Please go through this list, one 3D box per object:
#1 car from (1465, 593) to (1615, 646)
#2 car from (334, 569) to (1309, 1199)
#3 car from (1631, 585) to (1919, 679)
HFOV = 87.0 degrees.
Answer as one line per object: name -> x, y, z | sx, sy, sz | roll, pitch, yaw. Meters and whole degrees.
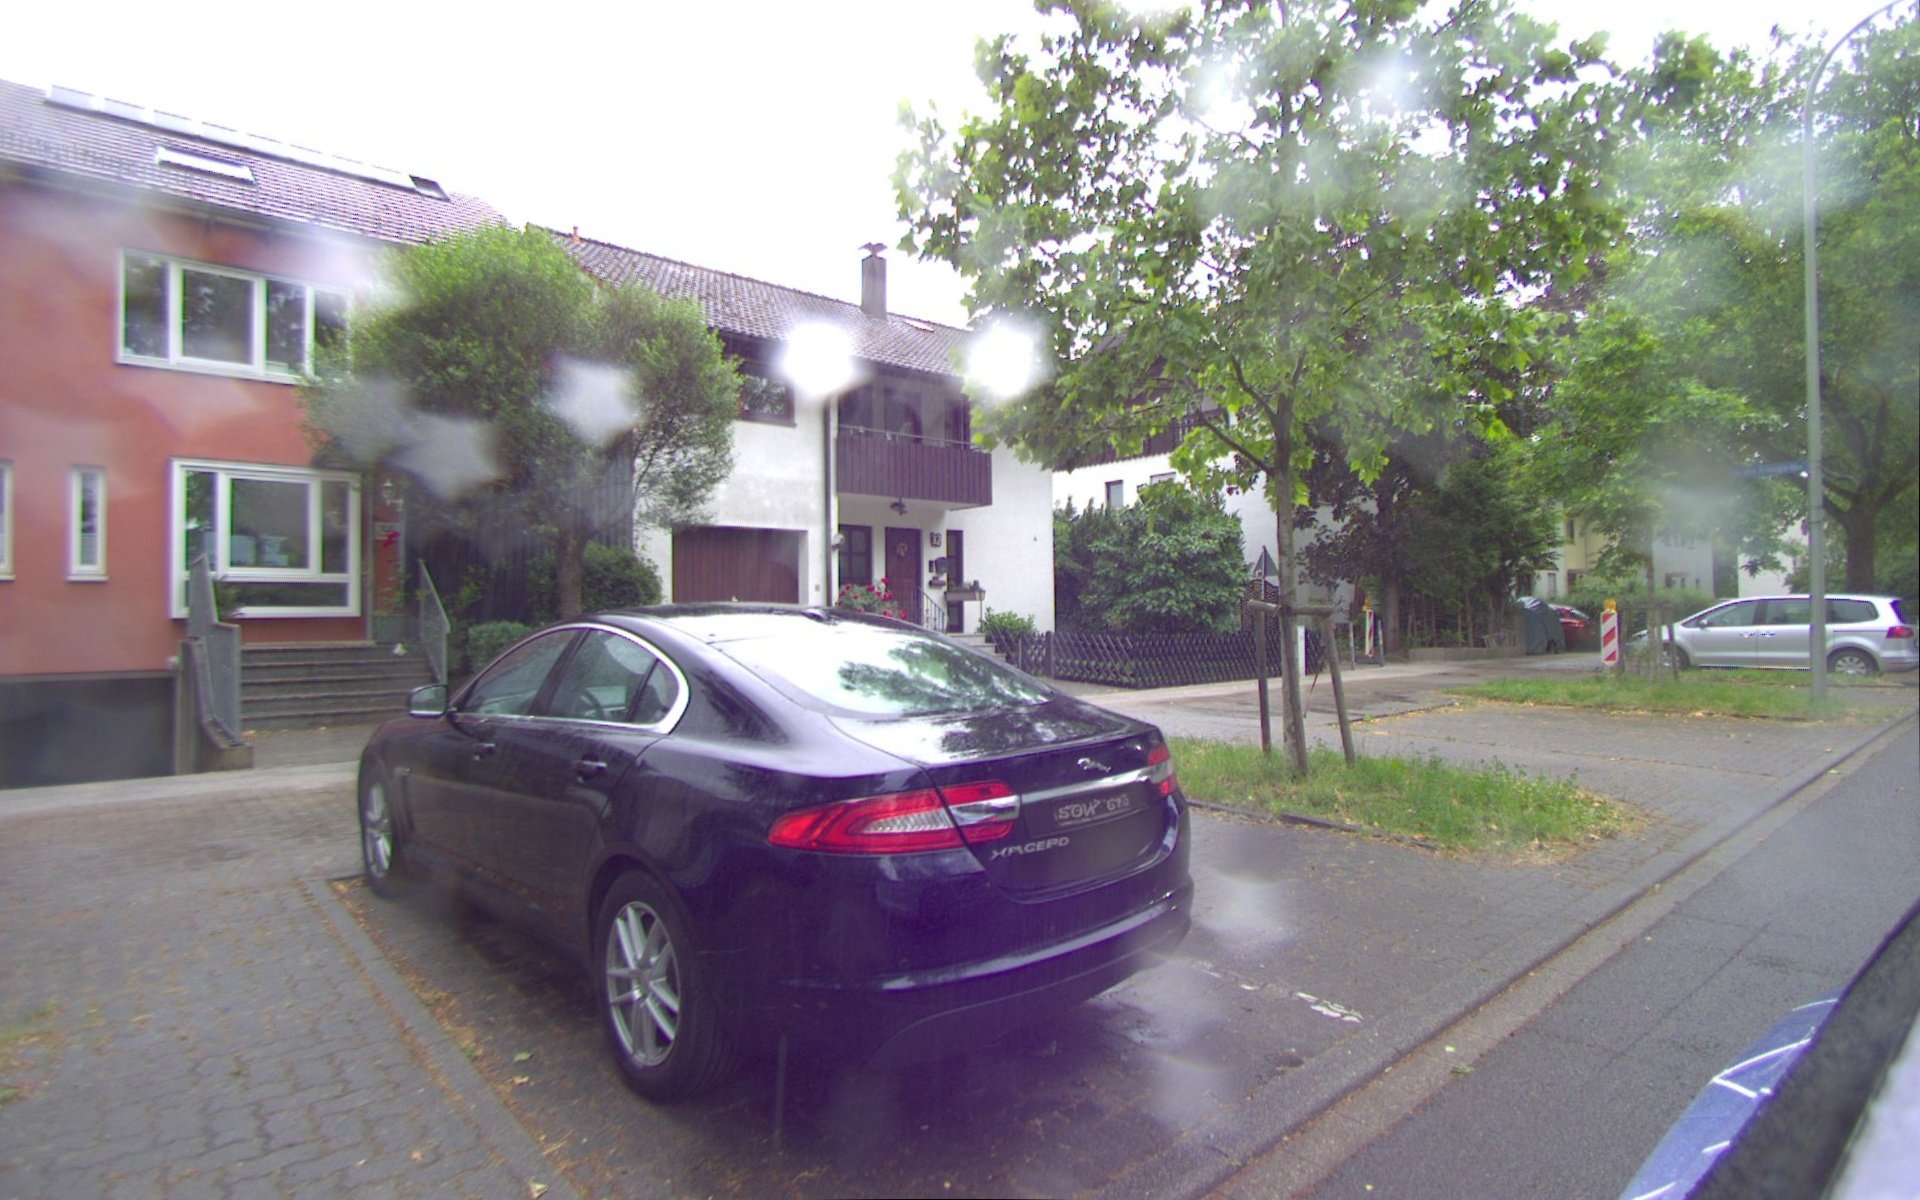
car -> 18.793, 0.606, 32.900 | 1.809, 1.633, 3.853 | 0, -1, -39
car -> -1.124, 0.683, 4.533 | 1.905, 1.492, 4.769 | 1, 0, -44
car -> 16.560, 0.589, 20.425 | 1.942, 1.682, 4.694 | 1, -1, -42
